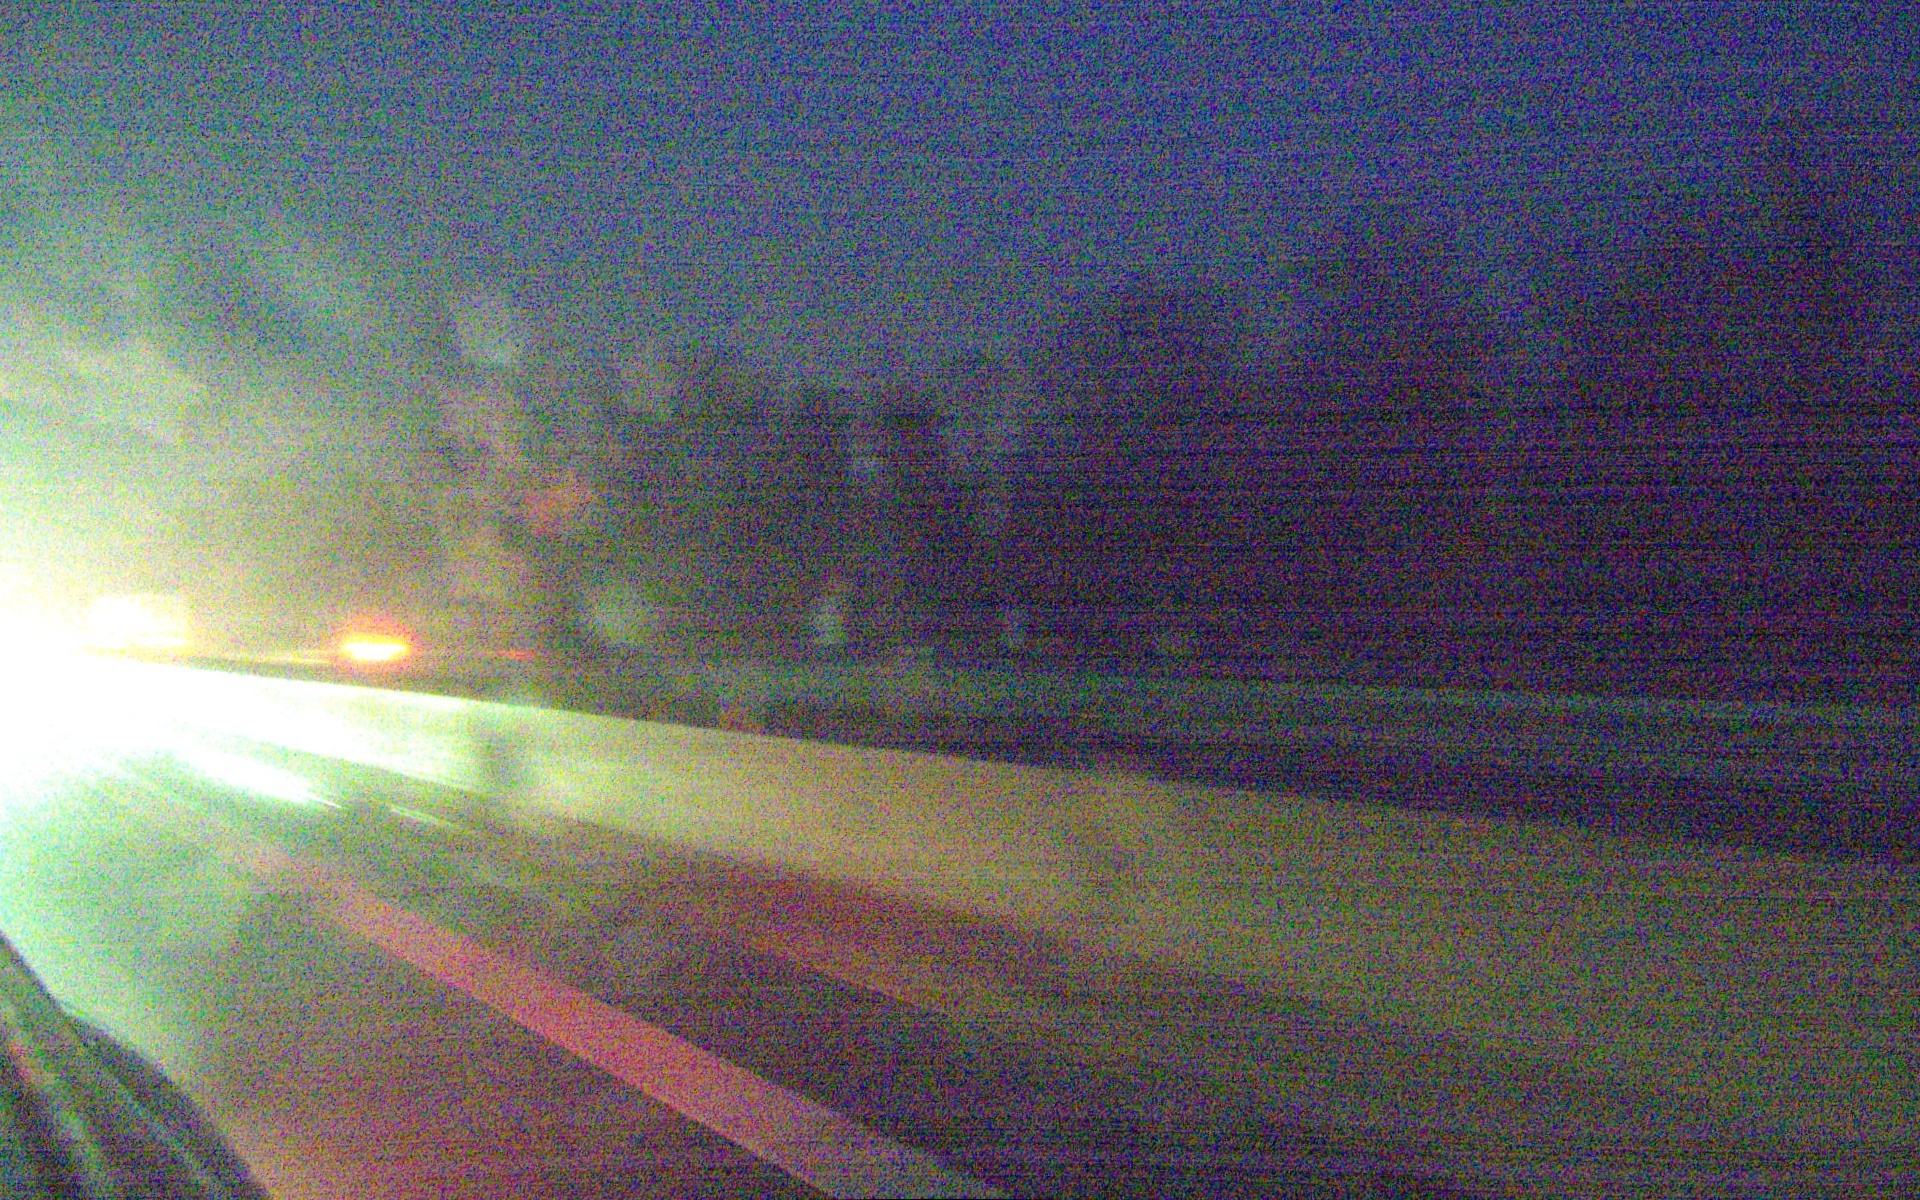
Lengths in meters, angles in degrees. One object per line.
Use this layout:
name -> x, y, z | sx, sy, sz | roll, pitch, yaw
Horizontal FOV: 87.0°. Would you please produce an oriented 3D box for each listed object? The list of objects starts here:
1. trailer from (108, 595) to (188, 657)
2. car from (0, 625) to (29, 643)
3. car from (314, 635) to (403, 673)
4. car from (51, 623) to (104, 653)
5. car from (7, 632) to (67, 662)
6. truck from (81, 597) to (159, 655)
trailer -> -59.712, 1.930, 74.289 | 8.932, 4.309, 2.909 | -1, -3, 41
car -> -85.555, 3.090, 91.272 | 4.113, 1.537, 1.736 | -2, -3, 40
car -> -26.805, 2.358, 45.031 | 4.963, 1.512, 1.973 | -1, 0, 41
car -> -59.419, 2.534, 68.133 | 4.878, 1.837, 2.041 | -1, 0, 41
car -> -50.768, 2.569, 55.621 | 4.445, 1.486, 1.944 | -1, 0, 41
truck -> -67.375, 2.053, 81.035 | 11.431, 4.360, 2.900 | -1, -3, 41
